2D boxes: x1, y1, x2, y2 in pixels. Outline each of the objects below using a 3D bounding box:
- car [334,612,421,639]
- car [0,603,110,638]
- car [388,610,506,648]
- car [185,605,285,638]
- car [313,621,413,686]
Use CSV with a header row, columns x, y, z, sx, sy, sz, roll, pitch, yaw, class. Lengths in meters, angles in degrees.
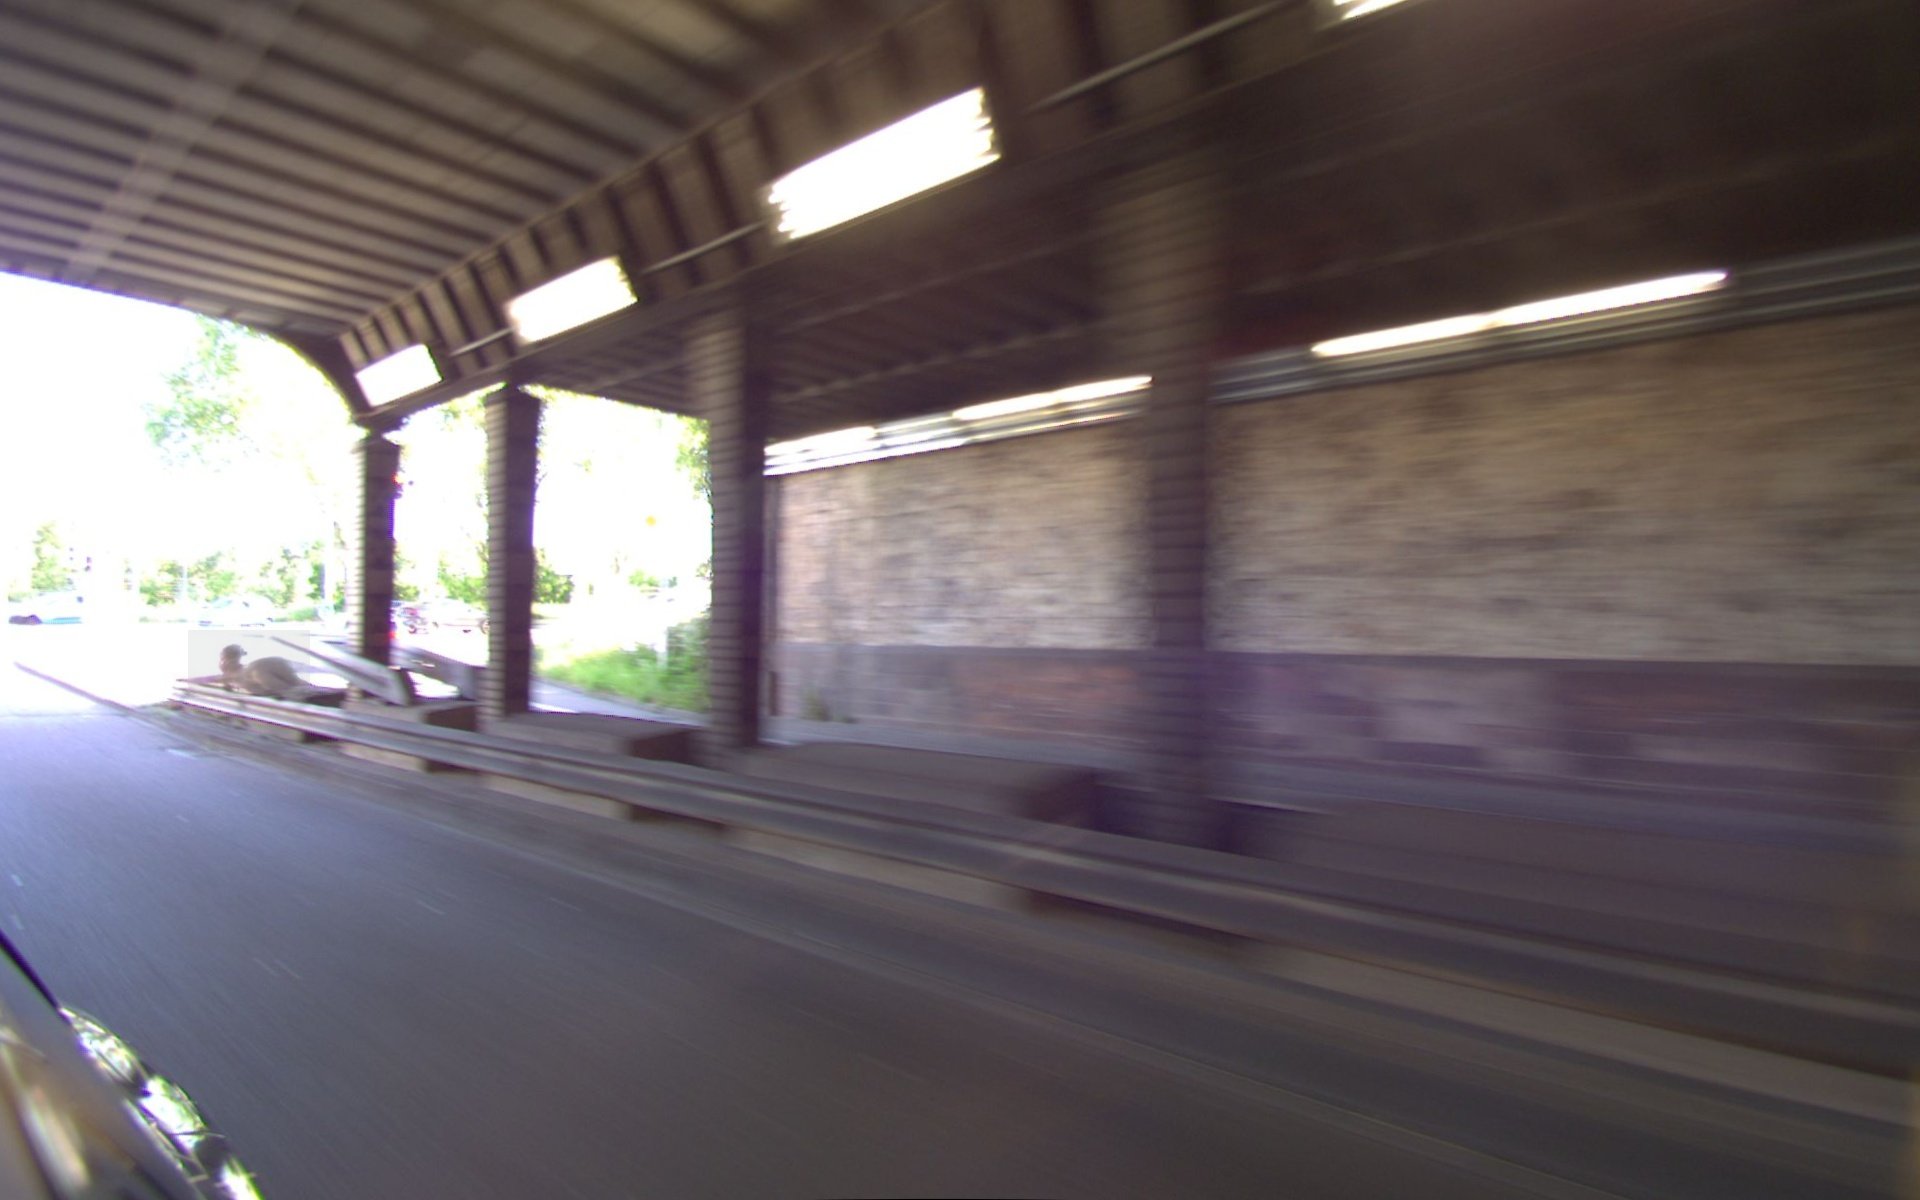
x,y,z,sx,sy,sz,roll,pitch,yaw,class
-32.745,1.425,56.966,1.896,1.438,3.907,0,-1,22,car
-48.118,1.146,53.777,1.858,1.757,4.209,-2,-3,39,car
-24.821,1.382,49.069,2.046,1.727,4.689,0,-1,39,car
-37.963,1.134,53.143,1.900,1.648,4.107,0,-1,11,car
-15.881,1.359,26.823,1.924,1.529,4.398,2,-2,-35,car
